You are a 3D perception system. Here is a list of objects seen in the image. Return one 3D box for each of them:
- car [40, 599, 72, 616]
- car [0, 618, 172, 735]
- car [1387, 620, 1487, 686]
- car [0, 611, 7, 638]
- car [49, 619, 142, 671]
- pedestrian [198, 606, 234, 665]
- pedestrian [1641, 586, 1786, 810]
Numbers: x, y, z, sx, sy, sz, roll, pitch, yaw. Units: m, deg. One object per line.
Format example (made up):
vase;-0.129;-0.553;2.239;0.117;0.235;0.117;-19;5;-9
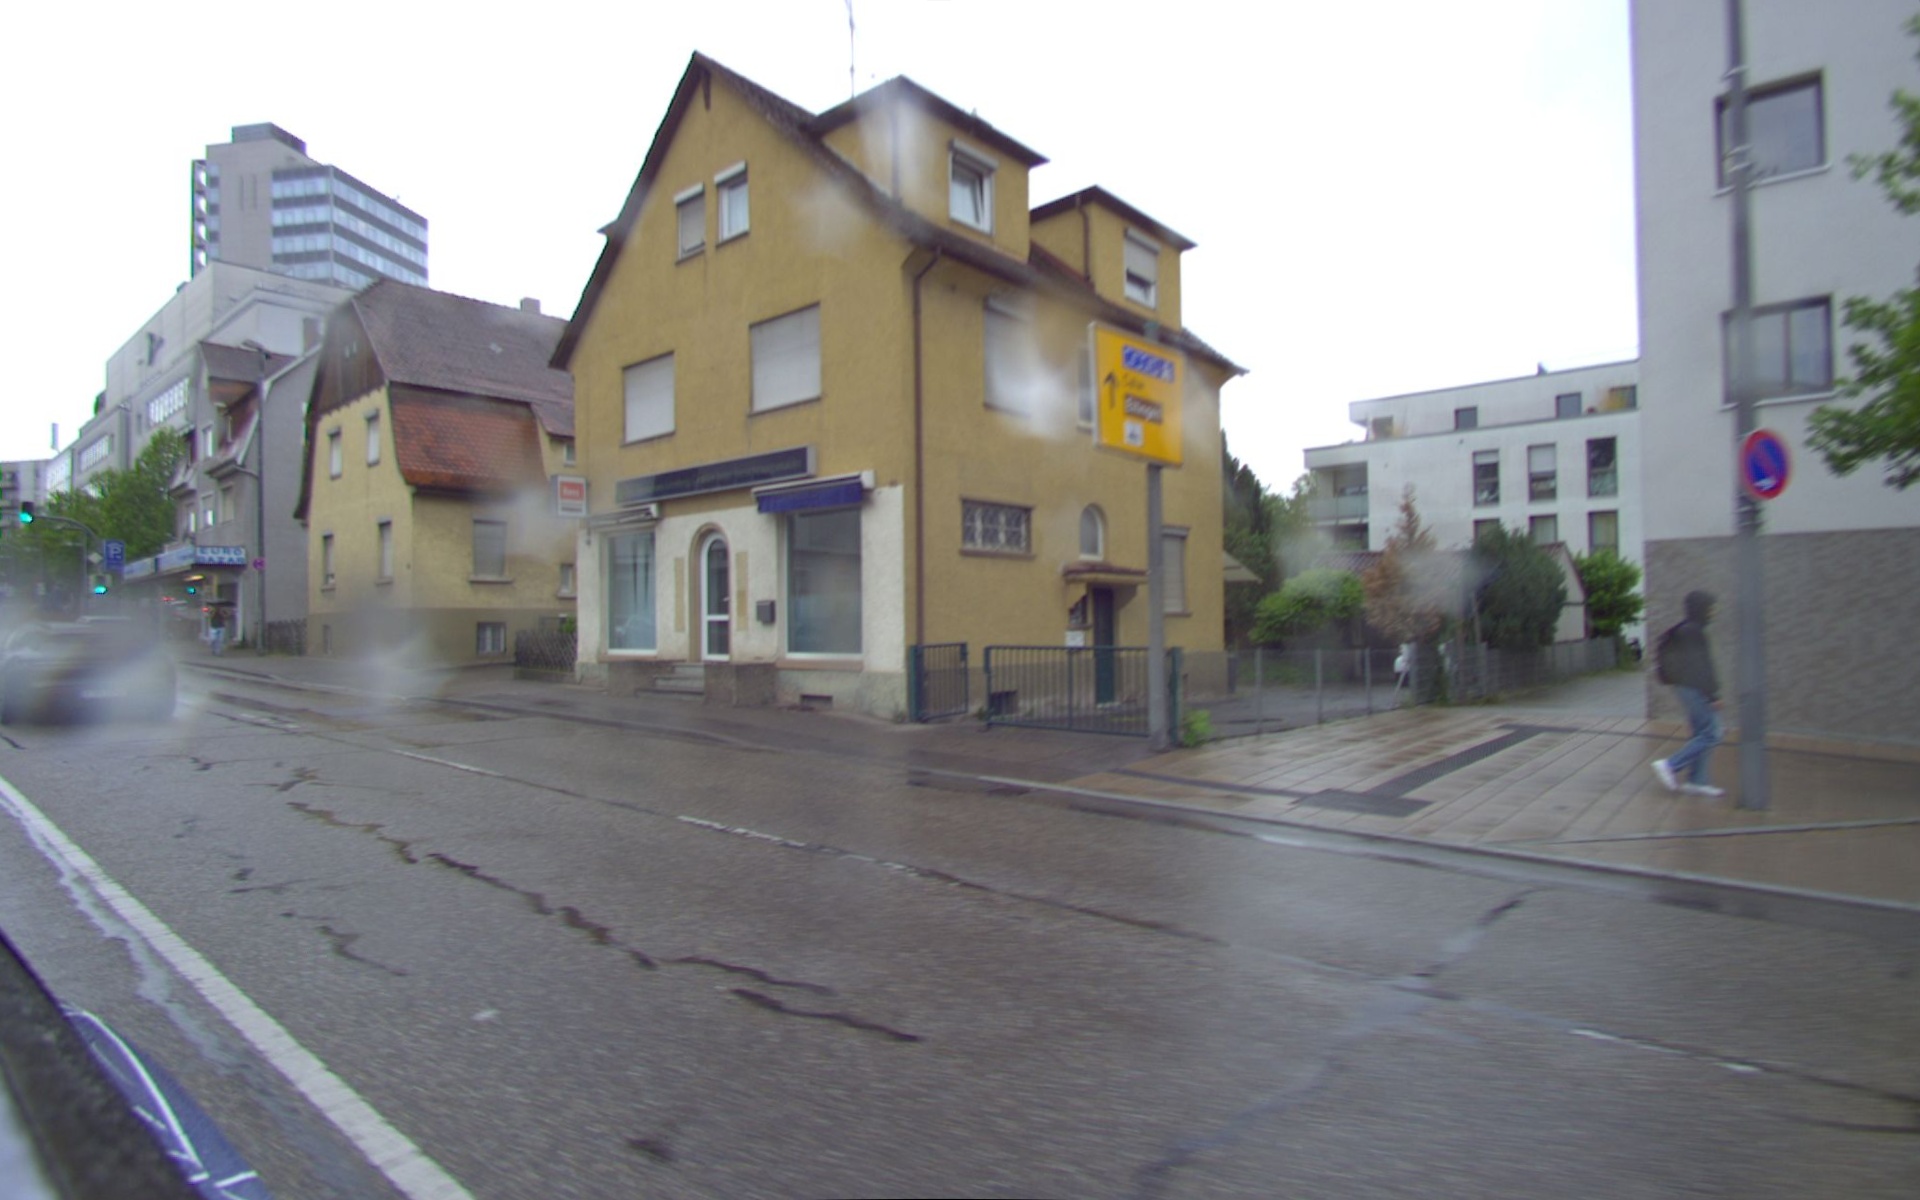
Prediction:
car;-83.980;0.691;94.021;3.729;1.421;1.735;0;-1;41
car;-13.448;1.027;15.133;4.523;1.424;1.750;0;-1;41
car;12.609;1.365;26.703;1.686;1.585;2.928;0;-1;41
car;-61.997;1.503;64.219;4.950;1.630;1.978;0;-1;44
car;-27.277;1.399;31.893;4.138;1.428;1.632;0;-3;42
pedestrian;-24.826;1.164;33.785;0.944;1.935;0.656;0;1;33
pedestrian;6.469;0.796;8.742;0.878;1.801;0.795;1;-1;28
